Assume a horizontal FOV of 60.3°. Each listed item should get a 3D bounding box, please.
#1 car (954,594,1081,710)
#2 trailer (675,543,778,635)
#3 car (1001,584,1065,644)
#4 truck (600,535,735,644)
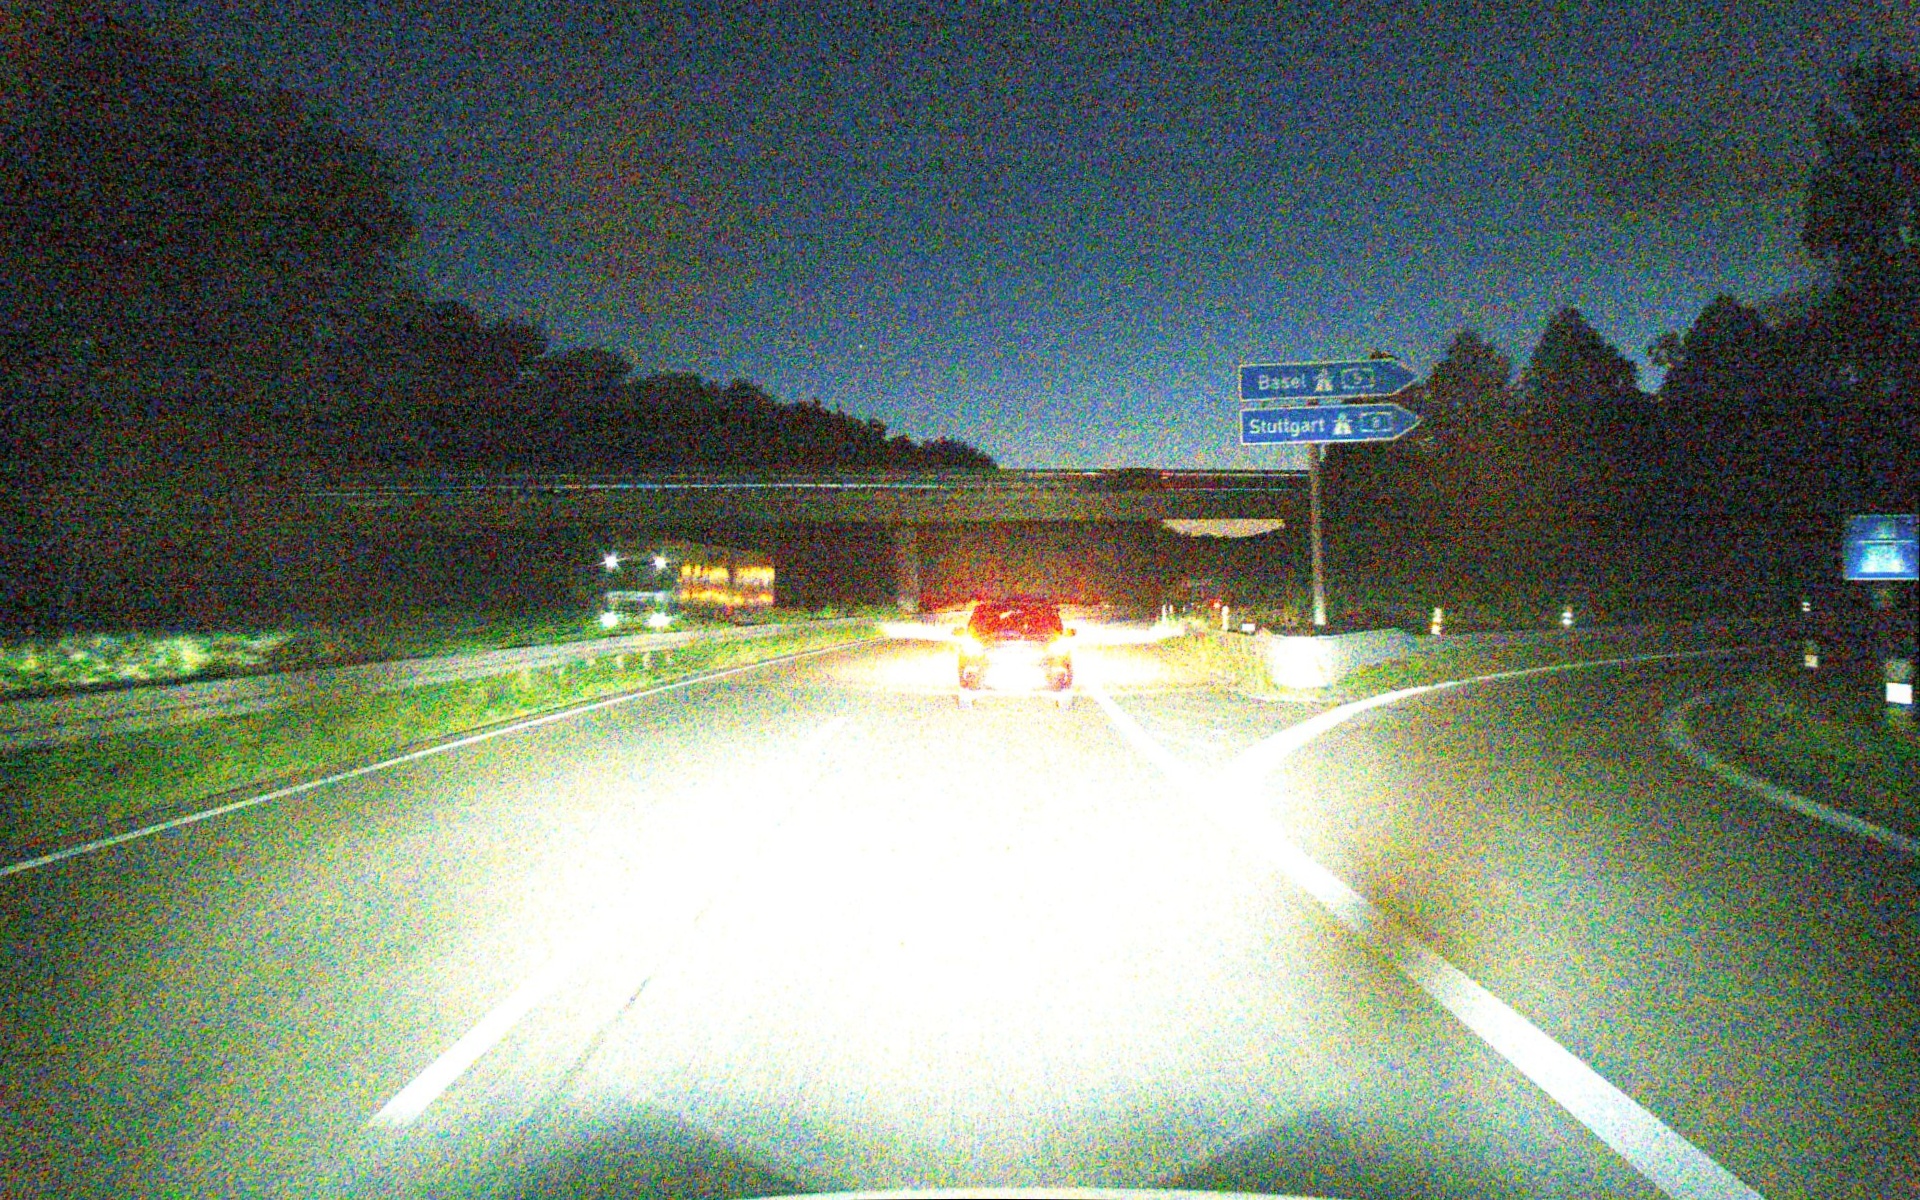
[{"bbox_3d":[0.768,0.689,24.154,1.556,1.534,3.998,1,0,-2],"label":"car"},{"bbox_3d":[-10.836,-0.502,77.619,2.660,4.025,9.053,-1,0,5],"label":"trailer"},{"bbox_3d":[2.262,0.396,50.647,1.866,1.728,4.002,-1,0,3],"label":"car"},{"bbox_3d":[-11.821,-0.430,68.018,2.624,4.115,10.661,-1,0,5],"label":"truck"}]
